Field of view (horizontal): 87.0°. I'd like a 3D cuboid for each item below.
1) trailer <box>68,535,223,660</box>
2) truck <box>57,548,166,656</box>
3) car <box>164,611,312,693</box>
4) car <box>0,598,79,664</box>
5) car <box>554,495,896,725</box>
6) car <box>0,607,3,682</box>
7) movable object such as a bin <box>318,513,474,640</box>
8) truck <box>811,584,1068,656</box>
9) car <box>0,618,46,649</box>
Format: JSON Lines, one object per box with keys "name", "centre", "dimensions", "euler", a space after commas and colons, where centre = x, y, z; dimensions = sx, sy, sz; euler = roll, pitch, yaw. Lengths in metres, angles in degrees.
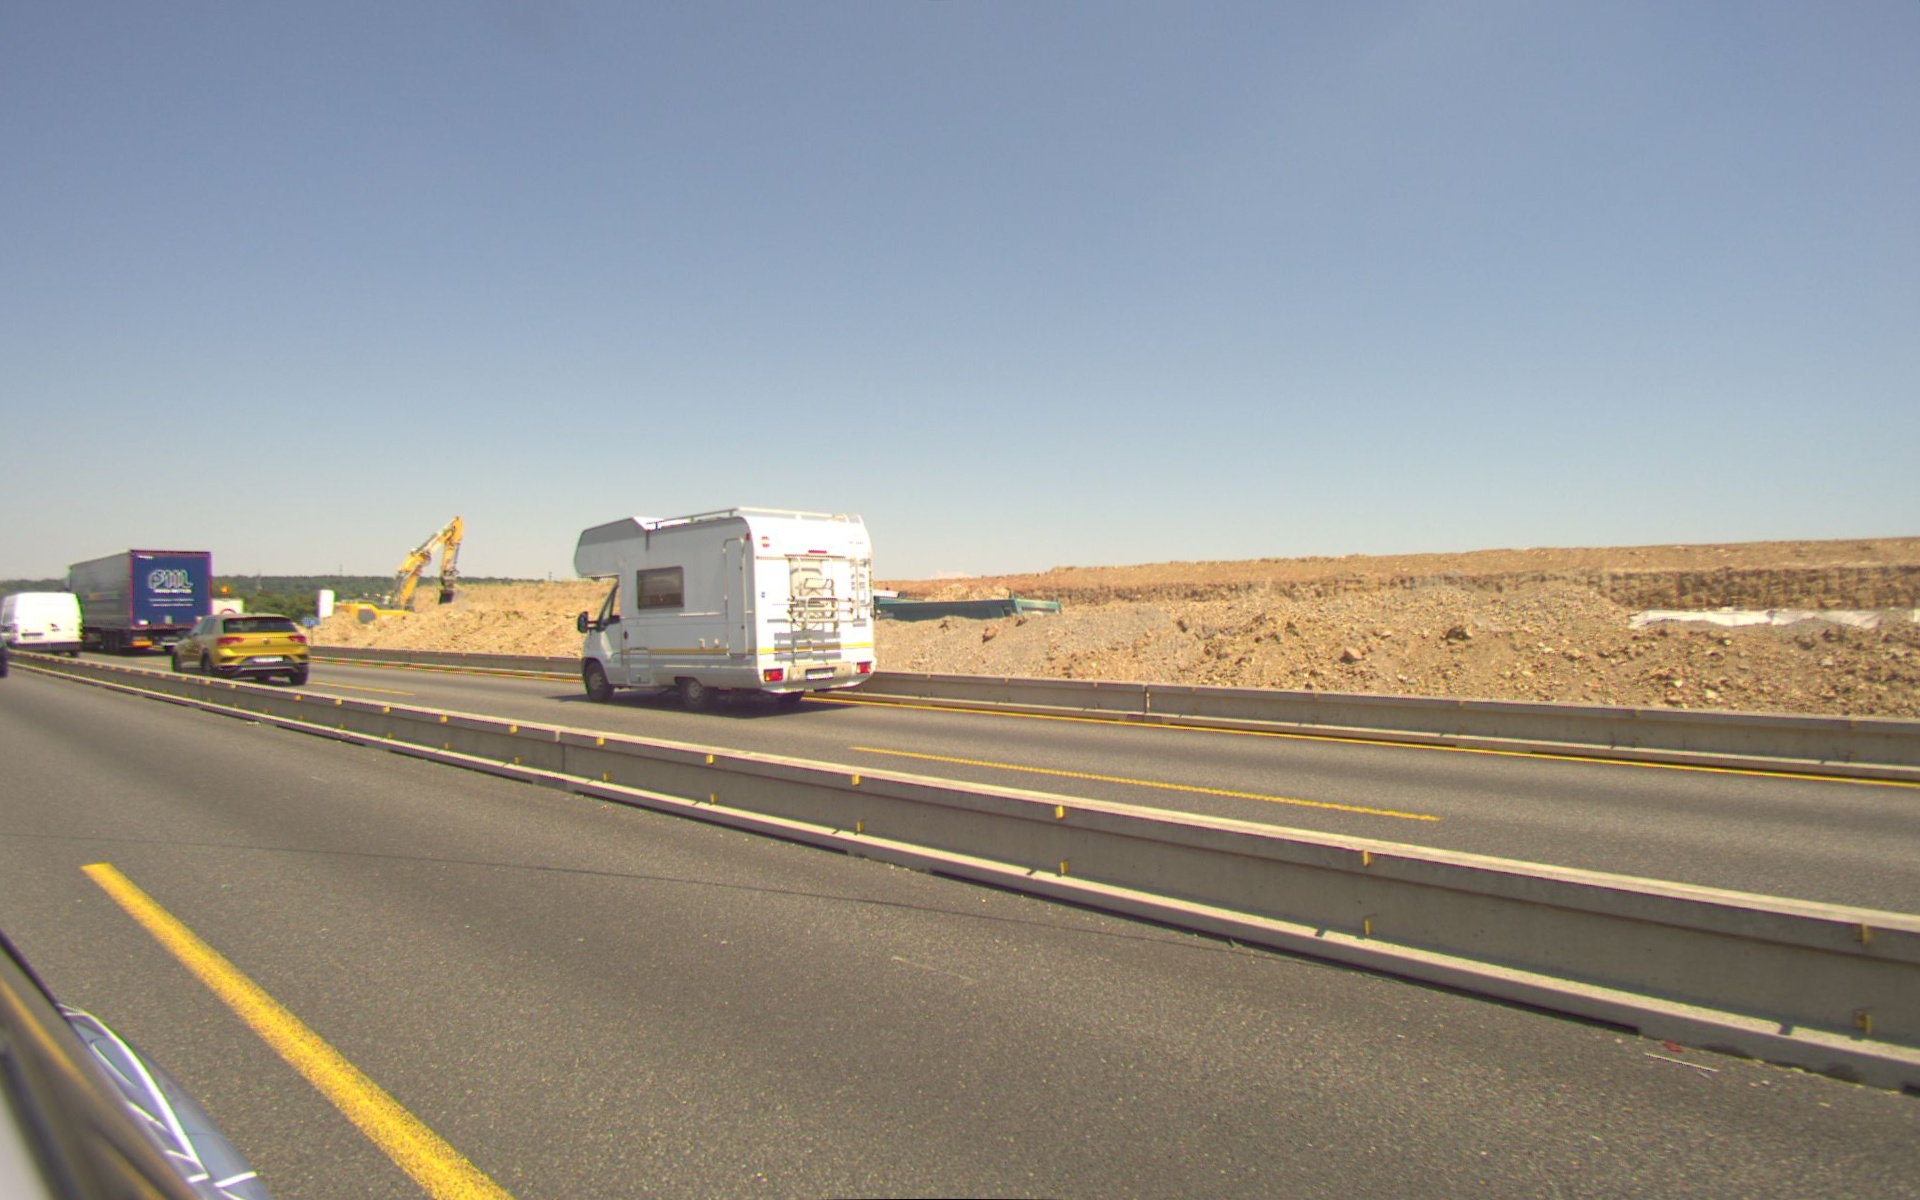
{"name": "trailer", "centre": [-34.621, -0.053, 42.711], "dimensions": [12.878, 4.631, 2.954], "euler": [-1, 0, 41]}
{"name": "truck", "centre": [-39.478, 0.105, 47.020], "dimensions": [6.241, 4.687, 2.934], "euler": [-1, 0, 41]}
{"name": "car", "centre": [-15.756, 1.065, 21.997], "dimensions": [4.361, 1.586, 1.743], "euler": [-1, -1, 42]}
{"name": "car", "centre": [-36.129, 1.211, 39.354], "dimensions": [6.192, 2.361, 2.014], "euler": [-2, -1, 41]}
{"name": "car", "centre": [-3.877, 0.142, 15.888], "dimensions": [5.846, 2.978, 2.228], "euler": [-1, 0, 41]}
{"name": "car", "centre": [-26.469, 1.150, 26.291], "dimensions": [5.476, 1.865, 1.854], "euler": [-1, 0, 41]}
{"name": "movable object such as a bin", "centre": [-34.204, -1.354, 61.552], "dimensions": [4.079, 7.167, 7.284], "euler": [-1, 0, 41]}
{"name": "truck", "centre": [-0.896, 0.596, 32.774], "dimensions": [8.796, 2.074, 2.536], "euler": [-1, 0, 40]}
{"name": "car", "centre": [-53.590, 1.864, 57.544], "dimensions": [4.883, 1.641, 1.849], "euler": [-1, 0, 41]}
